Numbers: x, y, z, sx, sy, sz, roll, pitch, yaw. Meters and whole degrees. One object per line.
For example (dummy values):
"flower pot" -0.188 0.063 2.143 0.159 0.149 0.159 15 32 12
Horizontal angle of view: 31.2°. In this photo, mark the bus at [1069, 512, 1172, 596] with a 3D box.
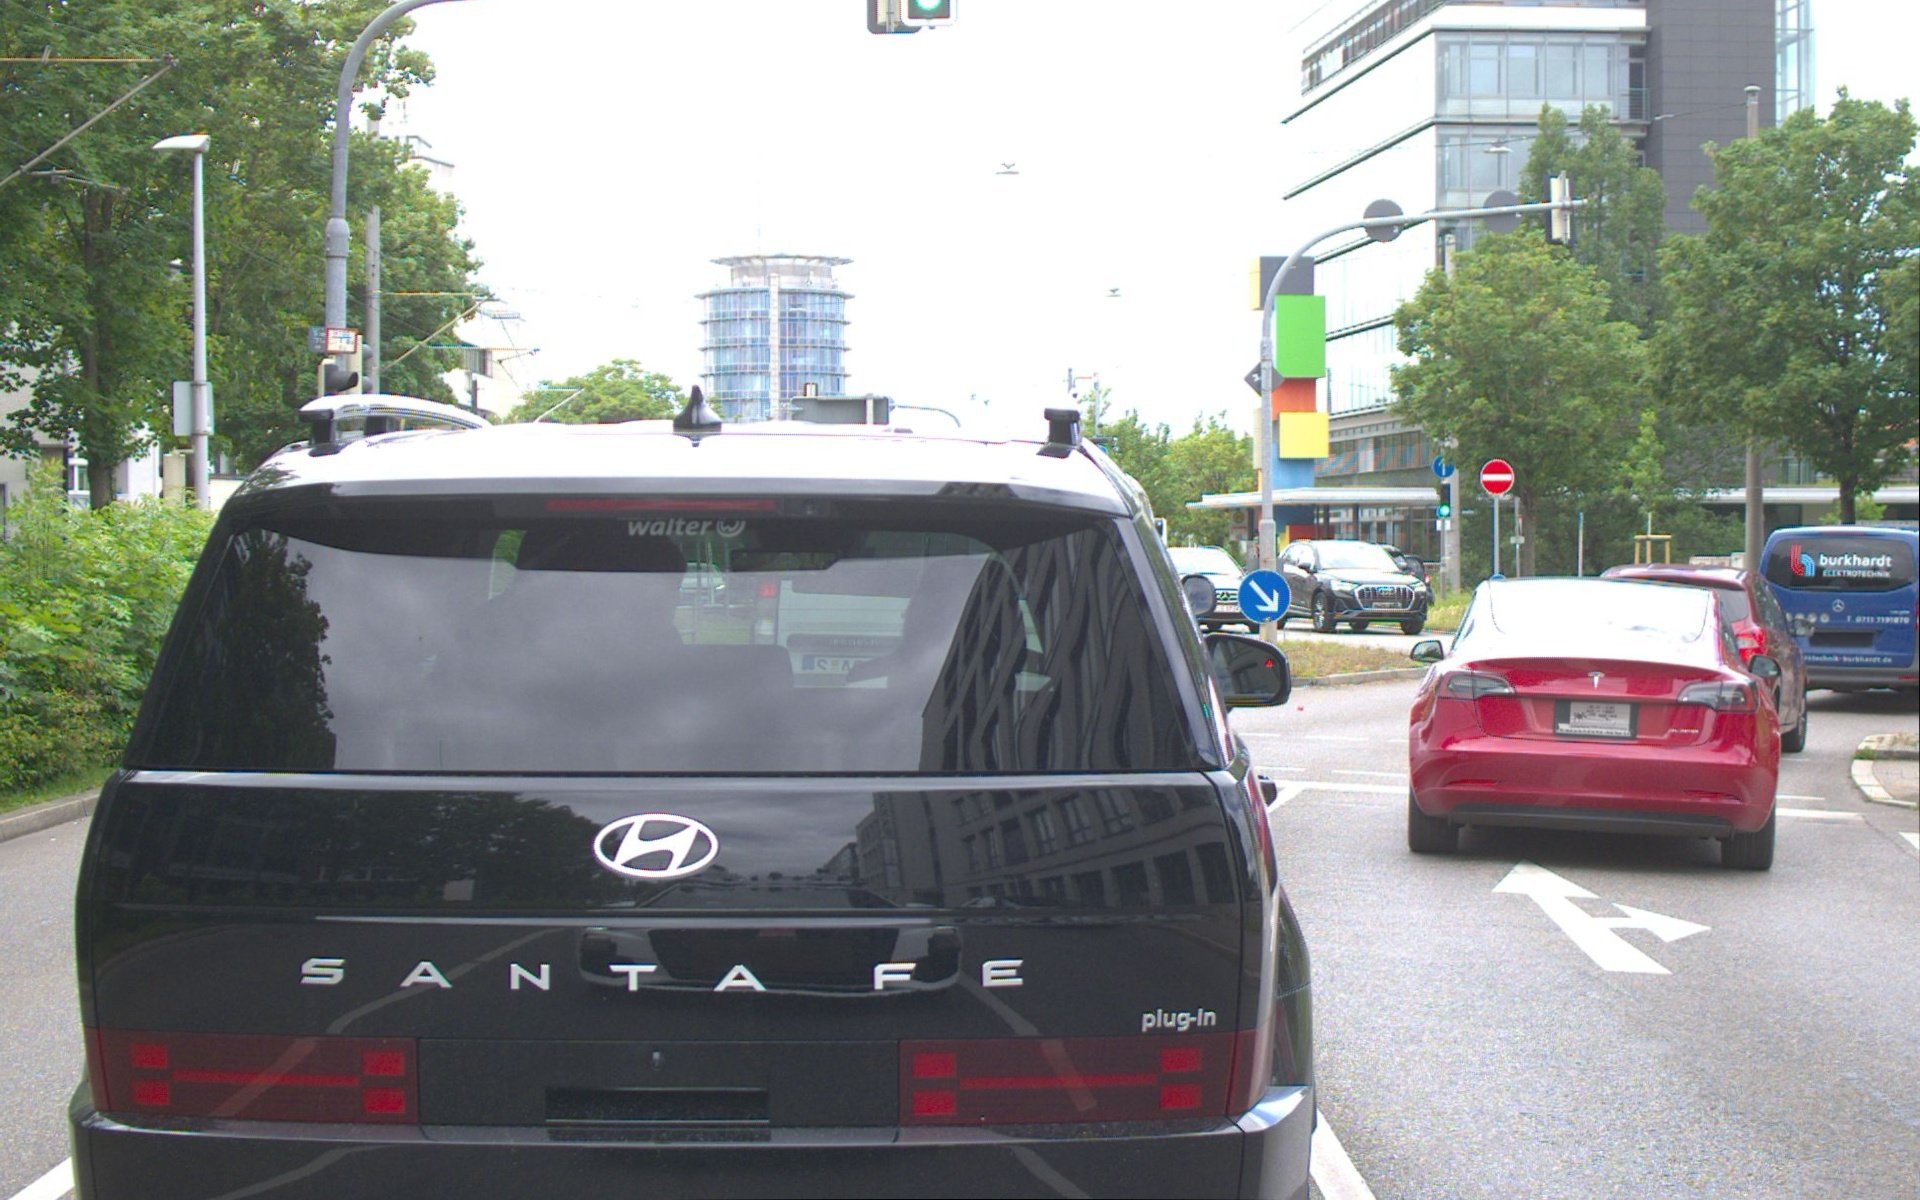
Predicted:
"bus" 6.152 -1.758 133.195 2.966 3.106 9.245 -1 0 -4

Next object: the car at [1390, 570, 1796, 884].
"car" 3.383 0.582 18.654 1.874 1.413 4.441 2 1 9

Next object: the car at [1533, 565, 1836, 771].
"car" 5.838 0.482 27.405 1.746 1.476 3.714 2 1 21

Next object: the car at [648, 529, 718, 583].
"car" -8.623 -1.385 106.803 1.782 1.532 4.397 2 1 -9

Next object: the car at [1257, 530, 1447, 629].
"car" 6.782 -0.383 59.945 1.887 1.559 4.397 1 2 -13

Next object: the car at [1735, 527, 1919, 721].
"car" 9.634 0.214 35.983 1.905 1.852 4.703 2 1 26

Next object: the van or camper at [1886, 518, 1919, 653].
"van or camper" 14.984 -0.220 50.665 1.994 1.911 4.408 1 2 8

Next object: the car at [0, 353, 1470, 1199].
"car" -0.374 0.541 6.444 1.902 1.725 4.446 2 1 -1

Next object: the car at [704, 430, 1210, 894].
"car" 0.146 0.228 17.275 1.902 1.962 4.635 2 1 7

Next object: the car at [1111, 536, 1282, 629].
"car" 3.991 -0.319 58.638 1.782 1.421 4.397 1 2 -11

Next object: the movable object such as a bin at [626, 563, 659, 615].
"movable object such as a bin" -6.348 -0.224 68.705 0.563 1.009 0.838 0 1 -10
